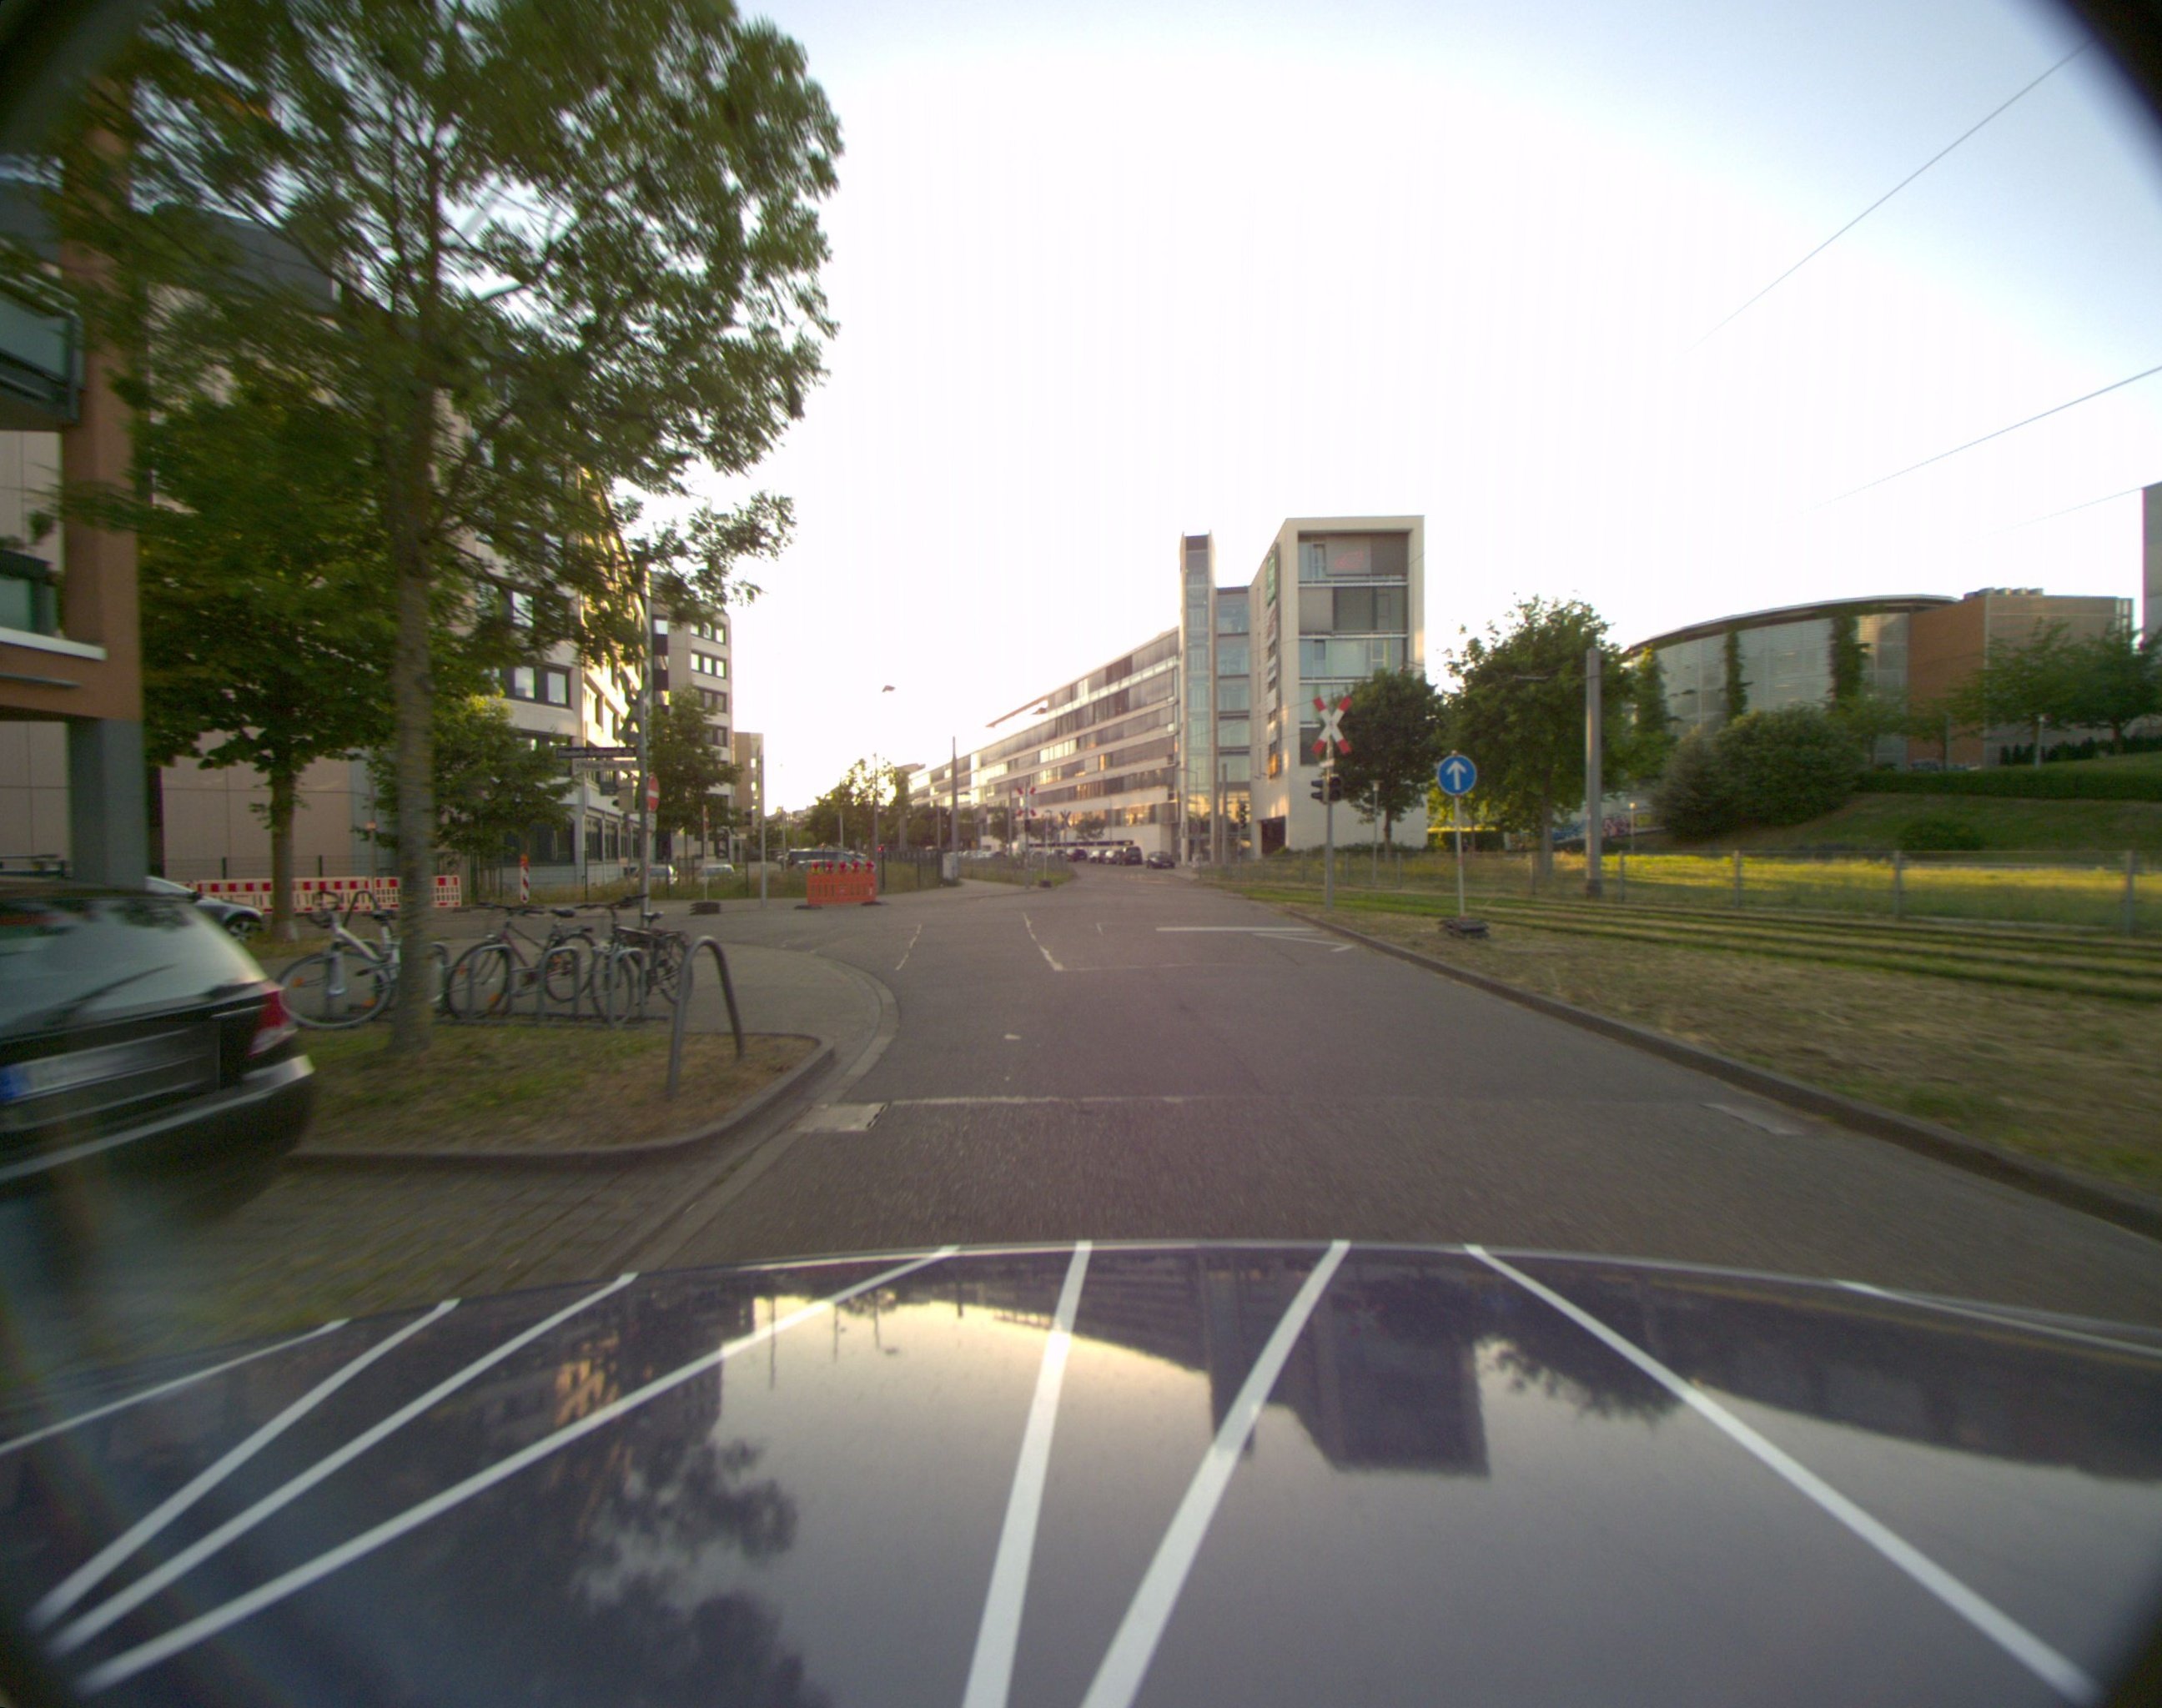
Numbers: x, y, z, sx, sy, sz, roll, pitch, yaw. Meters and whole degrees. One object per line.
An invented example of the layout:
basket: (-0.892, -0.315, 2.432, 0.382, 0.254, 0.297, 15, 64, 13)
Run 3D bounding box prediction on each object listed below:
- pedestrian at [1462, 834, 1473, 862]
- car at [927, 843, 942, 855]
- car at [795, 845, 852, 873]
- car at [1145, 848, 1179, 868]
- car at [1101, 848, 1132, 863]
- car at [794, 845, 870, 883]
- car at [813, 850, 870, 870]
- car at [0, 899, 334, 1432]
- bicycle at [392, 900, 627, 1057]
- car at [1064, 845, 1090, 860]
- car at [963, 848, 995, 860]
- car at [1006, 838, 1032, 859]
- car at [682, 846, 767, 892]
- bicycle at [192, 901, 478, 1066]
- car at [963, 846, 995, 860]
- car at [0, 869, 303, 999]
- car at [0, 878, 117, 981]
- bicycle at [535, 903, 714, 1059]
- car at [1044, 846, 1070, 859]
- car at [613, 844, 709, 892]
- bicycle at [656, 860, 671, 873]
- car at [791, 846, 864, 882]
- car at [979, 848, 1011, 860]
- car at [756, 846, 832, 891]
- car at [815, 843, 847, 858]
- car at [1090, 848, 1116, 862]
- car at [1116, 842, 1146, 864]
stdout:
pedestrian: (25.740, -0.423, 50.606, 0.450, 1.826, 0.483, -3, 1, -19)
car: (-30.409, -1.036, 157.774, 2.003, 2.570, 3.991, -1, 1, -26)
car: (-19.720, 0.383, 58.132, 4.004, 2.002, 1.996, -1, 1, -22)
car: (6.641, 0.307, 62.755, 1.858, 1.434, 4.225, -3, 1, -7)
car: (3.618, 0.123, 78.737, 1.867, 1.468, 4.514, -3, 1, -14)
car: (-14.271, 0.548, 43.484, 4.004, 2.002, 1.996, -1, 1, -20)
car: (-20.278, 0.460, 64.320, 4.410, 1.584, 1.814, -1, 1, -22)
car: (-5.004, 0.957, 2.292, 3.760, 1.465, 1.612, -1, 1, -3)
bicycle: (-5.121, 1.048, 7.004, 0.680, 1.145, 1.928, 1, -1, 0)
car: (-0.516, -0.190, 91.547, 1.799, 1.676, 3.992, -1, 1, -21)
car: (-12.188, 0.037, 90.835, 1.713, 1.368, 4.007, 0, 1, 28)
car: (-9.070, -0.786, 110.683, 2.008, 2.859, 6.242, 0, 0, -23)
car: (-16.597, 0.654, 35.615, 1.998, 2.002, 4.000, -1, 1, 1)
bicycle: (-6.345, 1.029, 6.649, 0.530, 1.120, 1.963, -2, -1, 0)
car: (-12.640, -0.141, 94.378, 1.713, 1.746, 4.007, 0, 1, 31)
car: (-15.576, 1.130, 11.970, 2.000, 1.585, 4.811, -2, 1, -7)
car: (-18.302, 1.278, 11.331, 2.000, 1.585, 4.811, -1, 1, -7)
bicycle: (-4.071, 1.066, 6.972, 0.719, 1.145, 1.897, 1, -1, -9)
car: (-3.122, -0.148, 97.484, 1.800, 1.542, 3.991, -3, 2, -26)
car: (-18.738, 0.577, 34.160, 1.998, 2.002, 4.000, -1, 1, 1)
bicycle: (-32.875, 0.963, 59.870, 0.816, 0.945, 2.210, -1, 1, -24)
car: (-15.177, 0.577, 45.502, 4.004, 2.002, 1.996, -1, 1, -20)
car: (-9.947, -0.042, 88.486, 1.713, 1.368, 4.007, 0, 1, 28)
car: (-13.508, 0.622, 35.990, 1.998, 2.002, 4.000, -1, 1, 1)
car: (-34.564, -0.540, 105.074, 4.005, 2.002, 1.996, -1, 1, -26)
car: (2.399, 0.072, 83.147, 1.654, 1.468, 3.760, -1, 1, -17)
car: (4.819, -0.080, 73.899, 1.895, 1.961, 4.513, -3, 1, -9)
